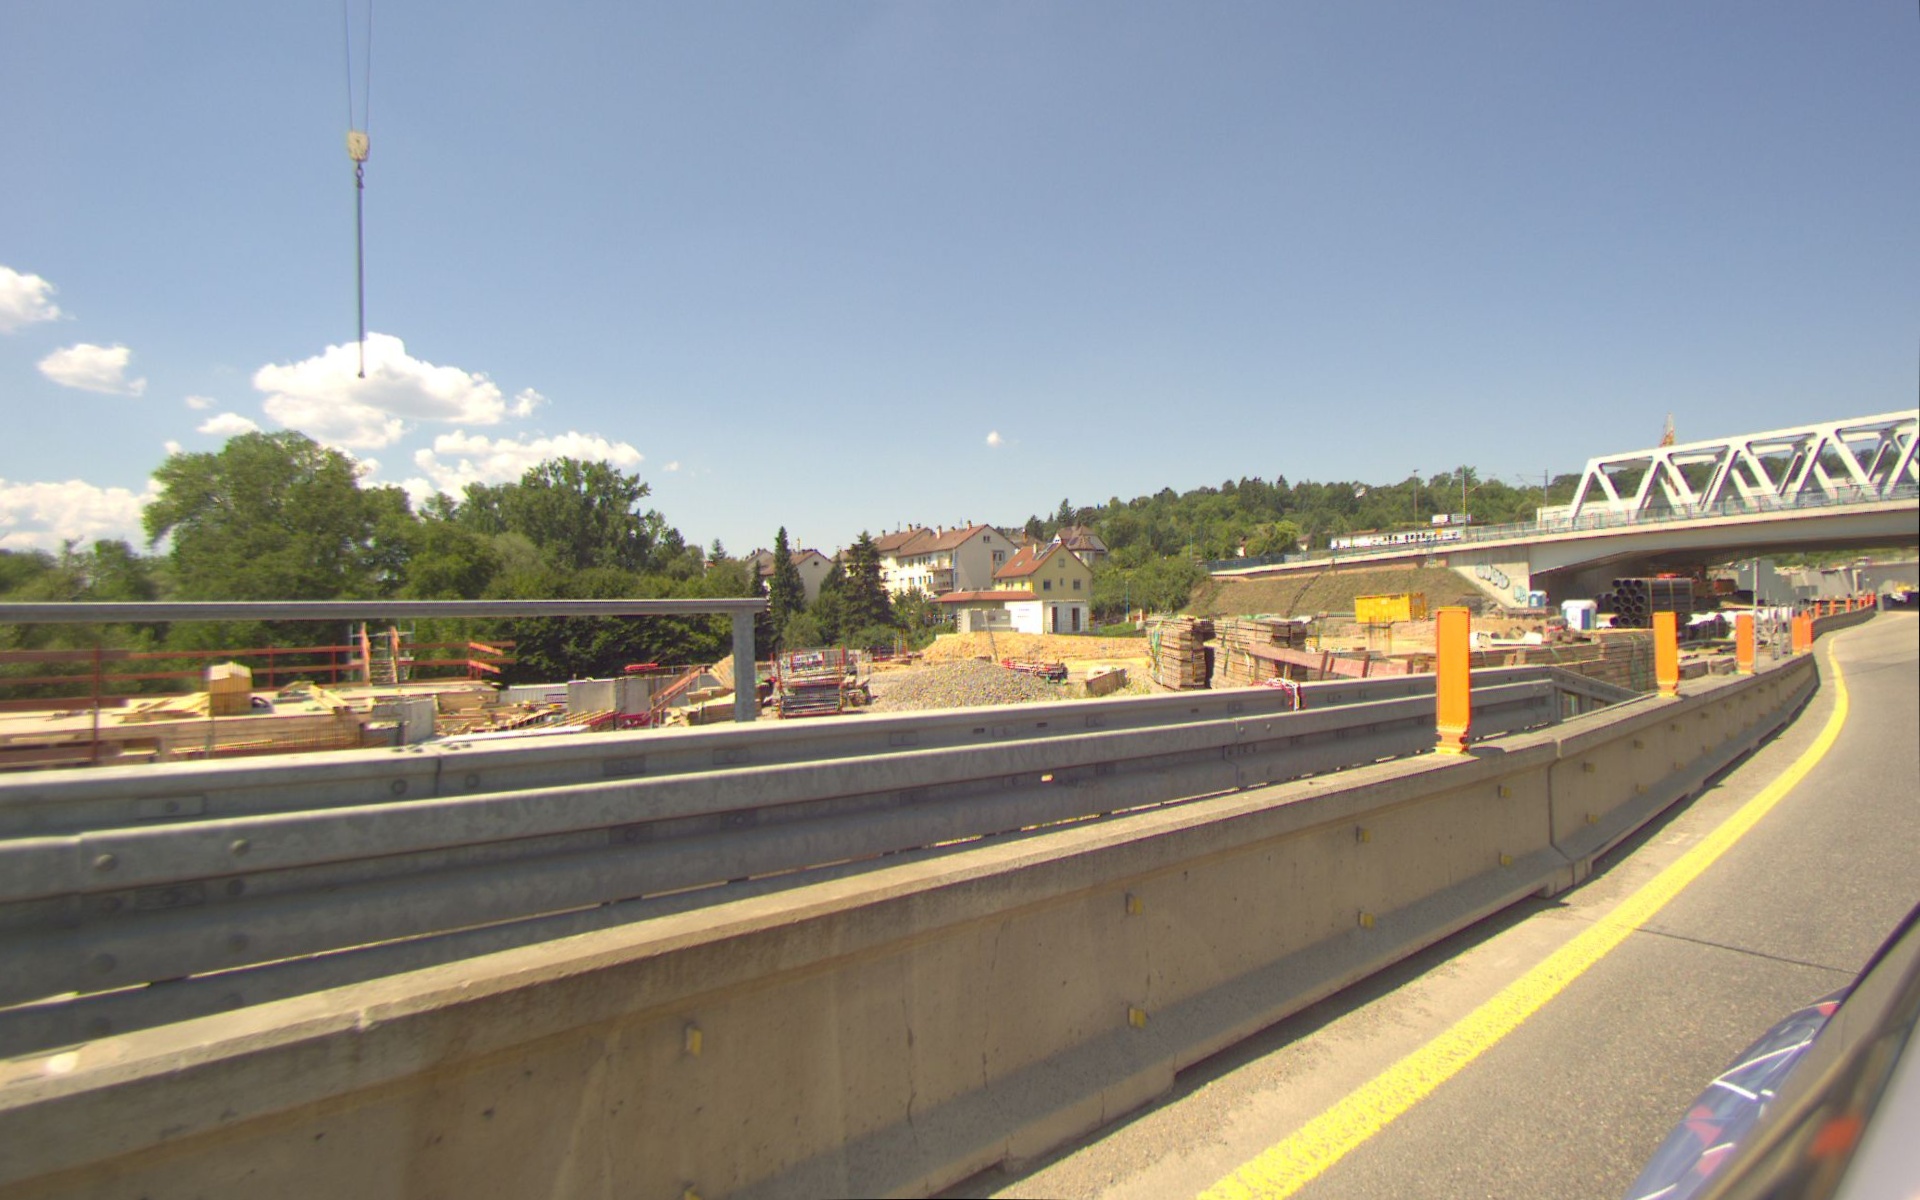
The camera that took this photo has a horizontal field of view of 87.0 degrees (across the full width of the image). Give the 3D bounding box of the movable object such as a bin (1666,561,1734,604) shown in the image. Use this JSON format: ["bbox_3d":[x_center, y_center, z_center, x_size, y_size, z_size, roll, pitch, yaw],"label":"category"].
[{"bbox_3d":[67.392,-1.611,92.185,2.844,3.586,3.899,-4,0,-25],"label":"movable object such as a bin"}]

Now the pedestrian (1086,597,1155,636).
[{"bbox_3d":[10.003,1.011,62.990,3.929,2.038,1.999,-5,2,-37],"label":"pedestrian"}]

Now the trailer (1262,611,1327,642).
[{"bbox_3d":[18.632,1.475,56.258,3.759,1.505,1.626,-3,0,-40],"label":"trailer"}]

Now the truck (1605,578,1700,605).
[{"bbox_3d":[62.245,-0.719,91.093,2.614,2.099,6.544,-3,0,-32],"label":"truck"}]

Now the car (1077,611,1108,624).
[{"bbox_3d":[17.236,2.213,131.953,1.548,1.526,4.169,-5,2,-32],"label":"car"}]

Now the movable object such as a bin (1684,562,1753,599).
[{"bbox_3d":[75.230,-1.931,100.403,2.933,3.327,4.570,-4,0,-32],"label":"movable object such as a bin"}]
